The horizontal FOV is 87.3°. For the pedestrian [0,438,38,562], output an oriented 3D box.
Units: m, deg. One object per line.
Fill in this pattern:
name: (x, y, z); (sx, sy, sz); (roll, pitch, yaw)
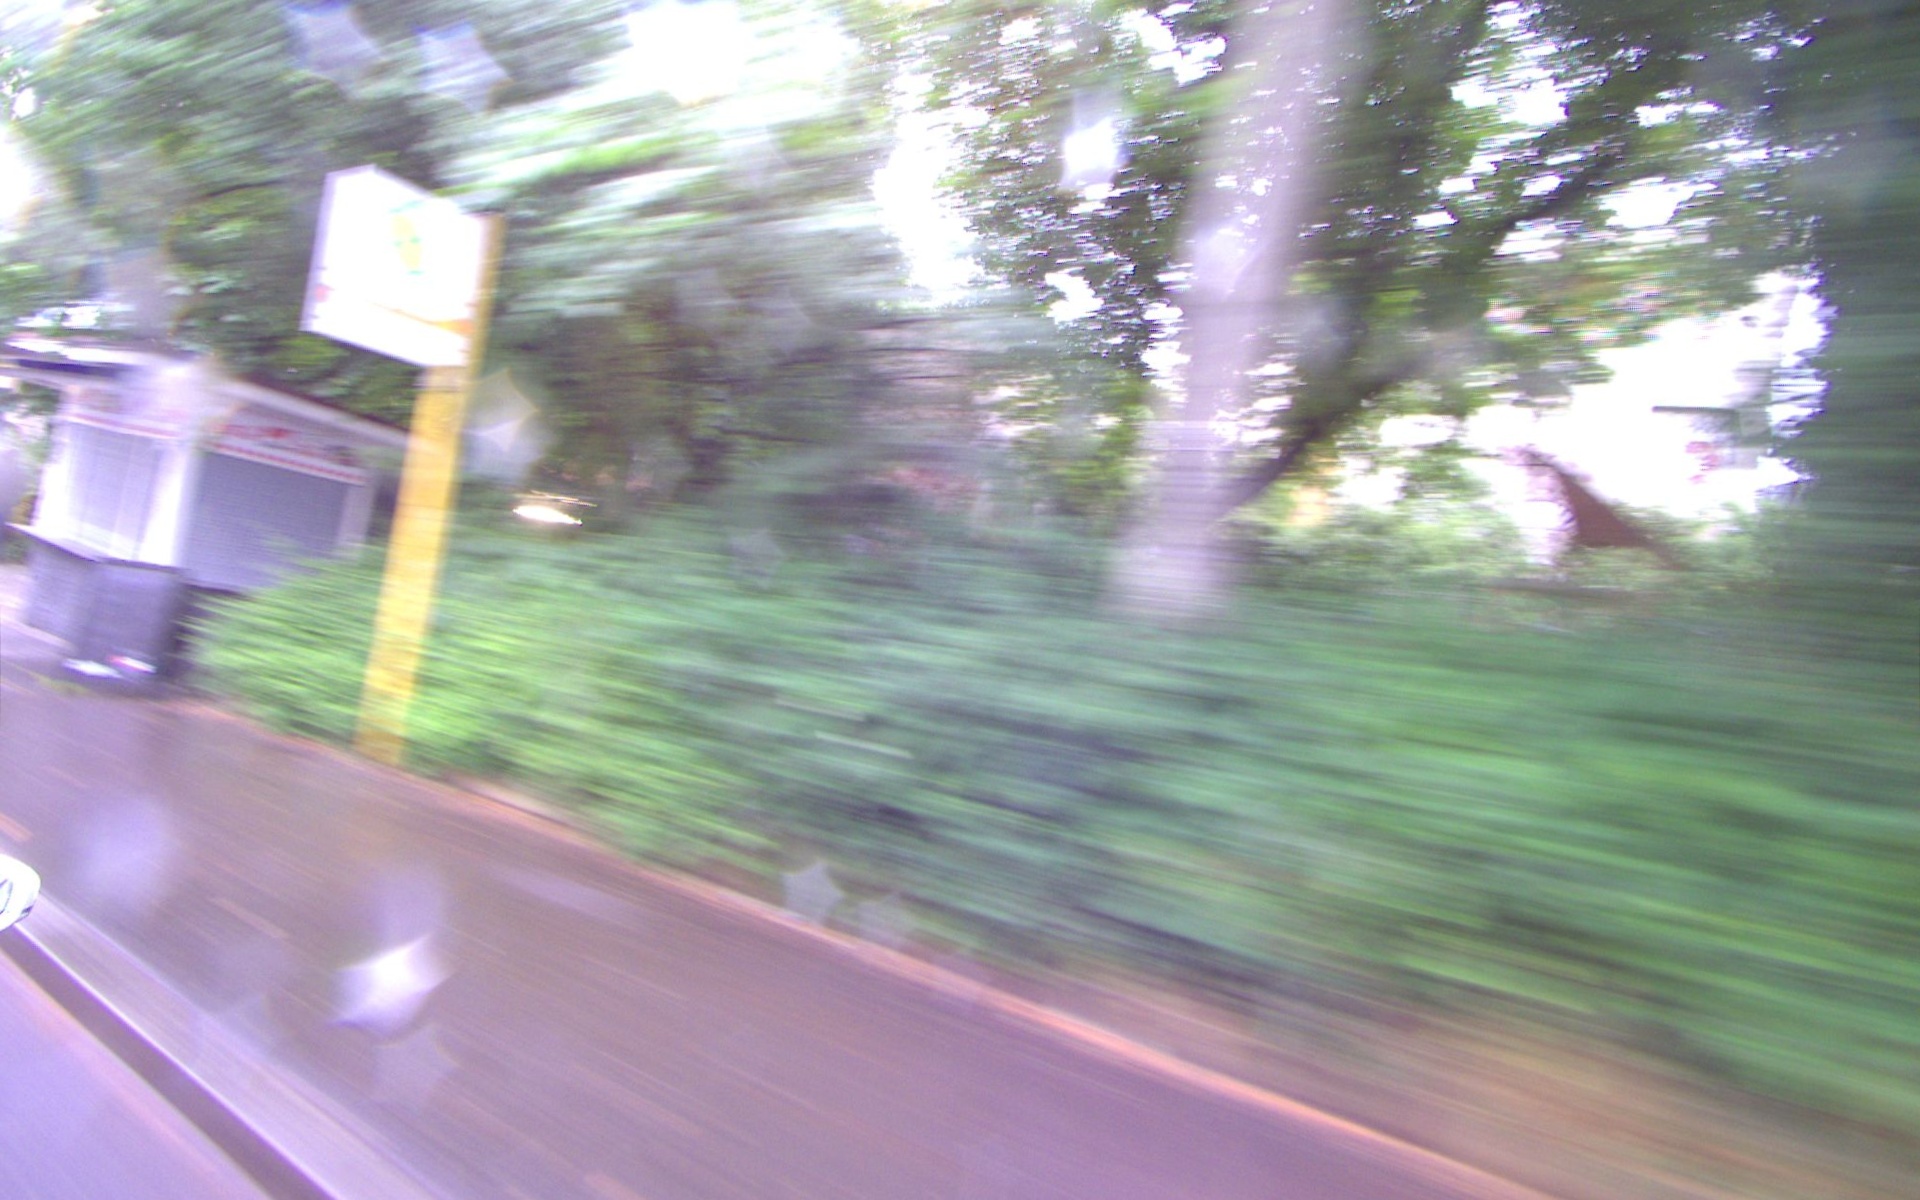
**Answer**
pedestrian: (-14.328, -1.504, 14.918); (0.604, 1.765, 0.604); (8, -2, 31)
